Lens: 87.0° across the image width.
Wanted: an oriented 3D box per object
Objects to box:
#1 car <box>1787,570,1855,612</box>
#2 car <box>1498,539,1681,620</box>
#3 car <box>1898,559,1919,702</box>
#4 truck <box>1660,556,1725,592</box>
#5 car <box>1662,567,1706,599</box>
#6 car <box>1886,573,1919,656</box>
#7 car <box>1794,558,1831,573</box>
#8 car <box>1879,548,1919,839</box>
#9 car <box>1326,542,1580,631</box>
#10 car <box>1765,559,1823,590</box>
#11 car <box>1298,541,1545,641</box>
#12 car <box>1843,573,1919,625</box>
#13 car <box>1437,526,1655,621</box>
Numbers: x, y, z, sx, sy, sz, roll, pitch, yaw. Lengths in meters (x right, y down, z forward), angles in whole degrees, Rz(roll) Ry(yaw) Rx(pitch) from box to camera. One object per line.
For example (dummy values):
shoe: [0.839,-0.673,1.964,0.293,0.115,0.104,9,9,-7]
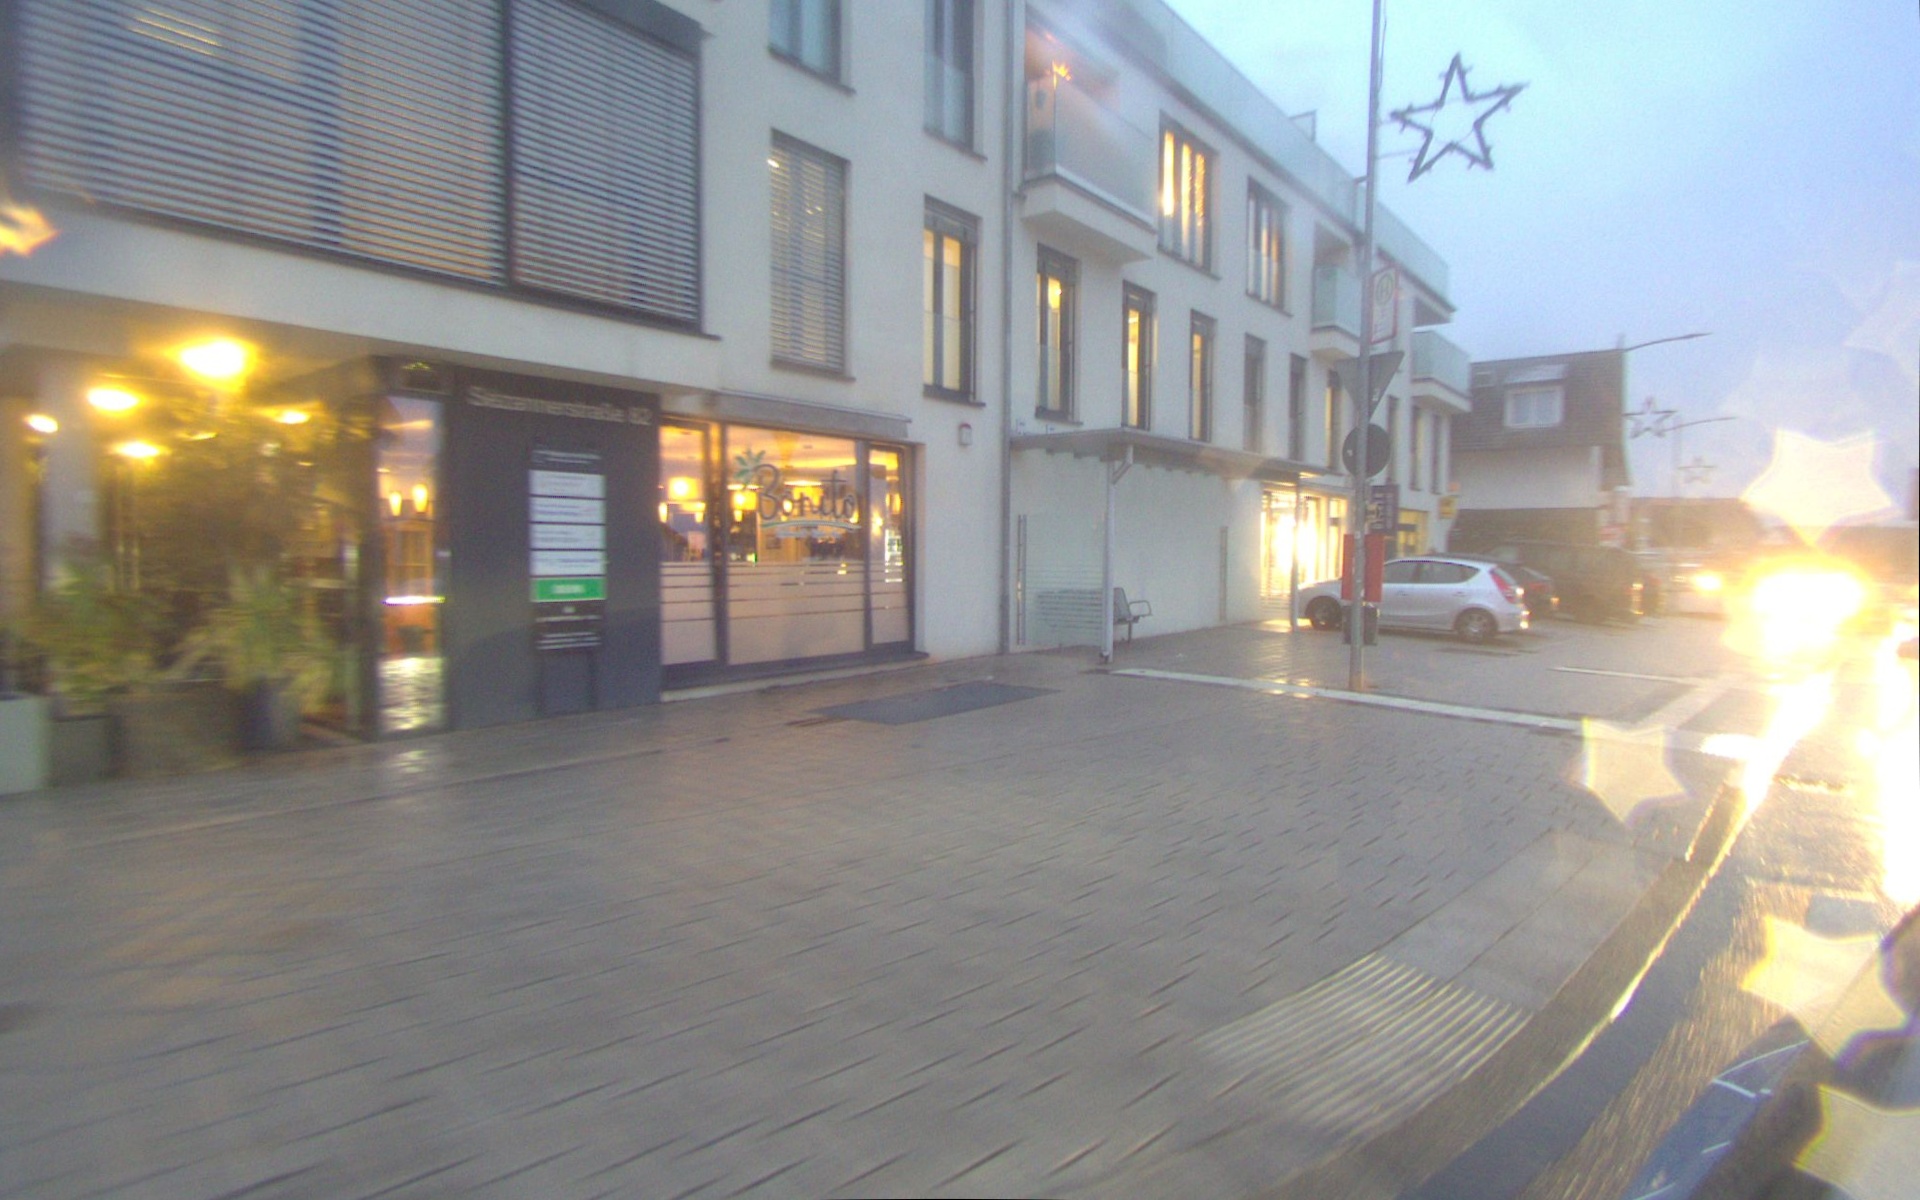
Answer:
car: [34.999,-0.389,41.223,1.824,1.563,3.667,1,3,36]
car: [17.883,-0.632,28.885,4.128,1.653,1.734,11,7,33]
car: [12.538,0.351,12.111,1.675,1.644,3.942,2,2,40]
truck: [47.632,-1.741,65.927,2.225,2.258,6.055,1,2,24]
car: [39.414,-0.939,55.136,1.837,1.606,3.722,2,2,35]
car: [18.659,0.236,18.879,1.562,1.487,3.571,0,1,35]
car: [88.236,-3.595,104.820,1.780,1.486,4.224,2,3,24]
car: [6.698,0.511,5.820,1.880,1.599,3.943,0,0,39]
car: [10.444,-0.364,21.606,4.501,1.510,1.948,6,5,38]
car: [57.131,-1.750,69.366,1.978,2.038,3.970,1,2,23]
car: [8.648,-0.246,19.073,3.972,1.521,1.793,5,5,33]
car: [28.209,-0.072,31.006,1.735,1.461,3.941,1,2,41]
car: [15.194,-0.762,26.392,4.536,1.956,1.947,9,6,39]
